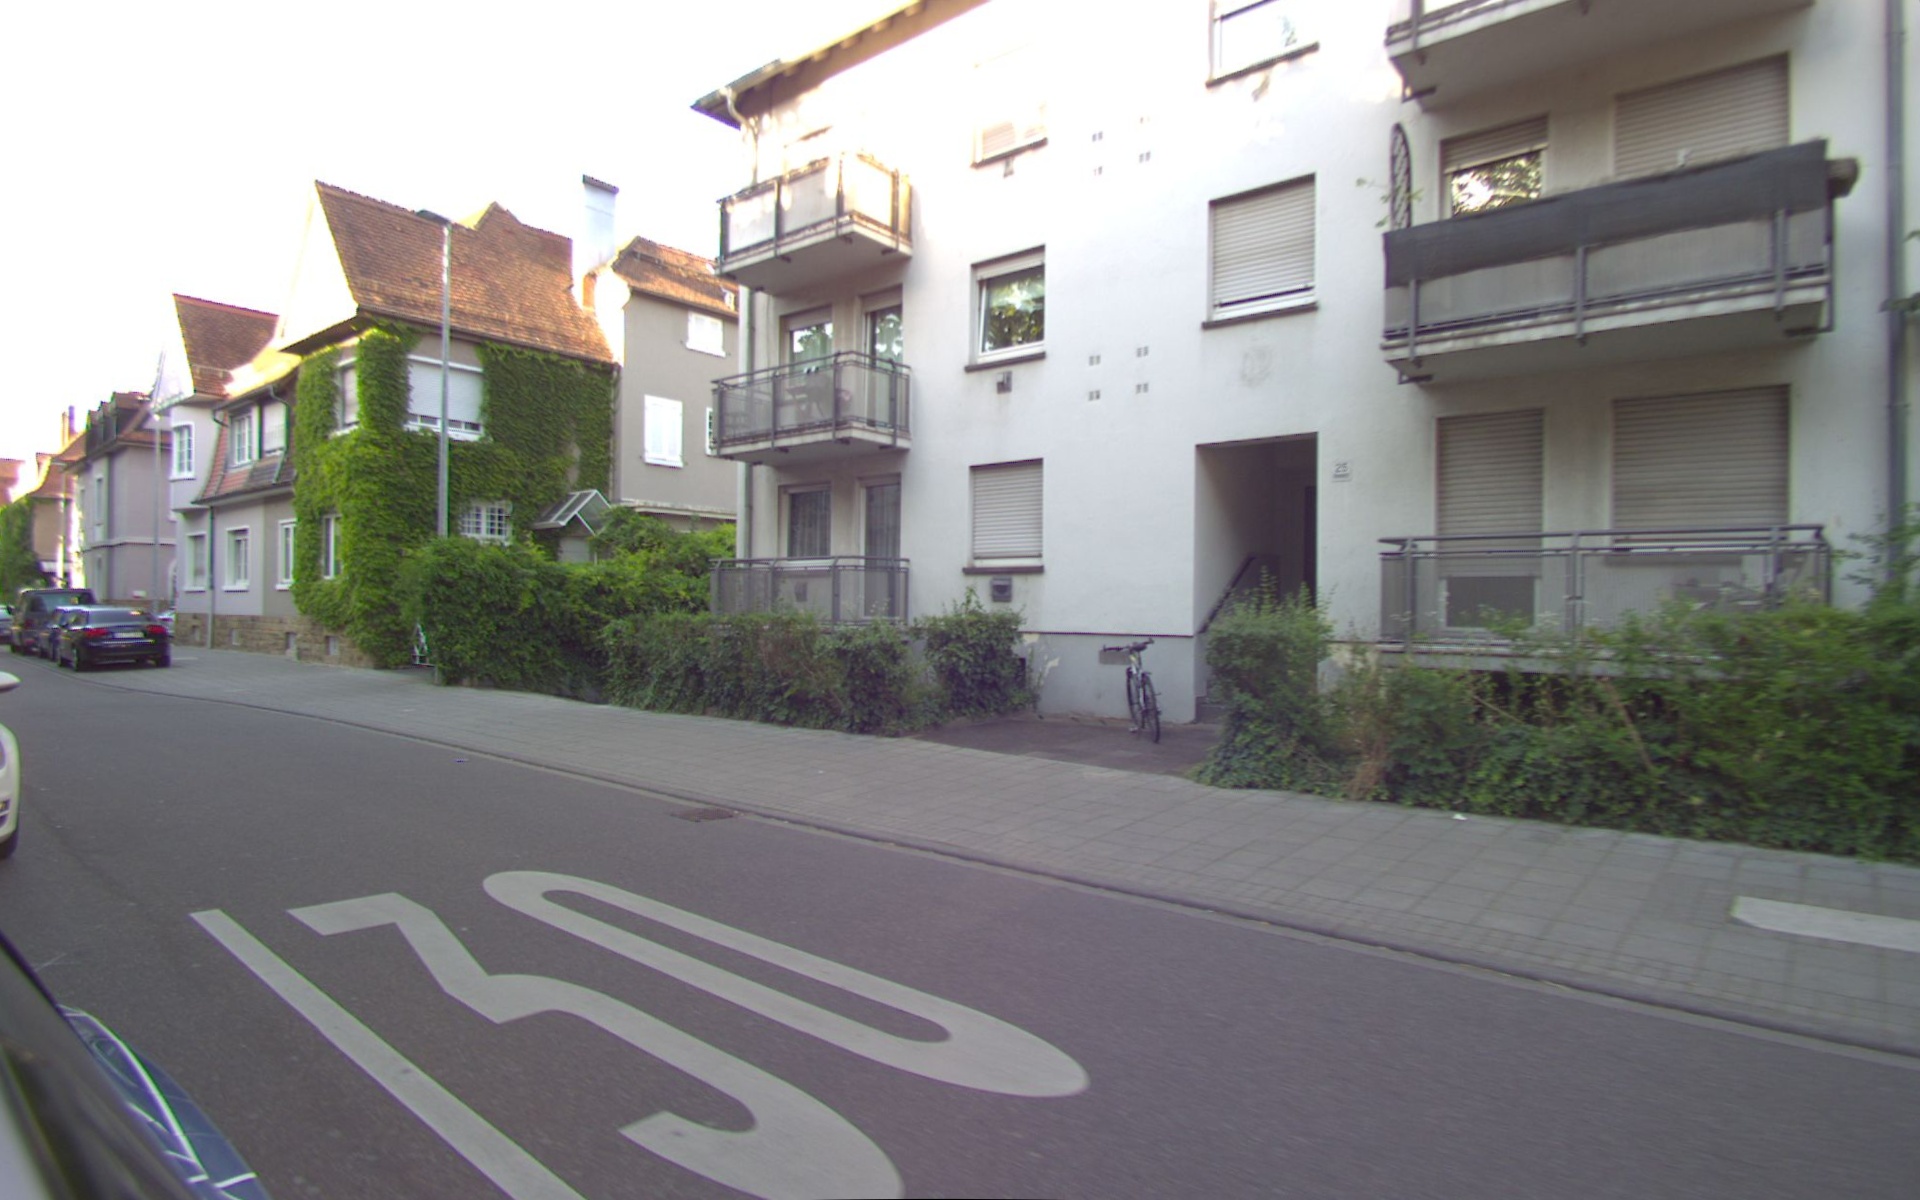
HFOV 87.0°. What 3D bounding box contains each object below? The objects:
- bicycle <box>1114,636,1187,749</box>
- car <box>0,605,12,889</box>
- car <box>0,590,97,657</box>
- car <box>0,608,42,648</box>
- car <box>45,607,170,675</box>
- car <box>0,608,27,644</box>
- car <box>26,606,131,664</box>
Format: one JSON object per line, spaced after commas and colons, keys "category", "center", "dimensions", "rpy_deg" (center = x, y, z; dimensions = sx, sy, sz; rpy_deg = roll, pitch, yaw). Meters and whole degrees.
{"category": "bicycle", "center": [2.010, 0.944, 10.846], "dimensions": [0.470, 1.027, 1.608], "rpy_deg": [0, 1, 0]}
{"category": "car", "center": [-7.064, 0.766, 5.927], "dimensions": [4.109, 1.461, 1.819], "rpy_deg": [0, 0, 41]}
{"category": "car", "center": [-28.316, 0.701, 31.339], "dimensions": [4.286, 1.920, 1.797], "rpy_deg": [-1, 0, 41]}
{"category": "car", "center": [-36.794, 1.067, 38.878], "dimensions": [4.286, 1.438, 1.797], "rpy_deg": [-1, 0, 41]}
{"category": "car", "center": [-20.218, 0.917, 23.959], "dimensions": [3.998, 1.465, 1.671], "rpy_deg": [-1, 0, 41]}
{"category": "car", "center": [-40.981, 1.093, 42.791], "dimensions": [4.286, 1.438, 1.797], "rpy_deg": [-1, 0, 41]}
{"category": "car", "center": [-24.585, 0.929, 28.182], "dimensions": [3.998, 1.465, 1.671], "rpy_deg": [-1, 0, 41]}
